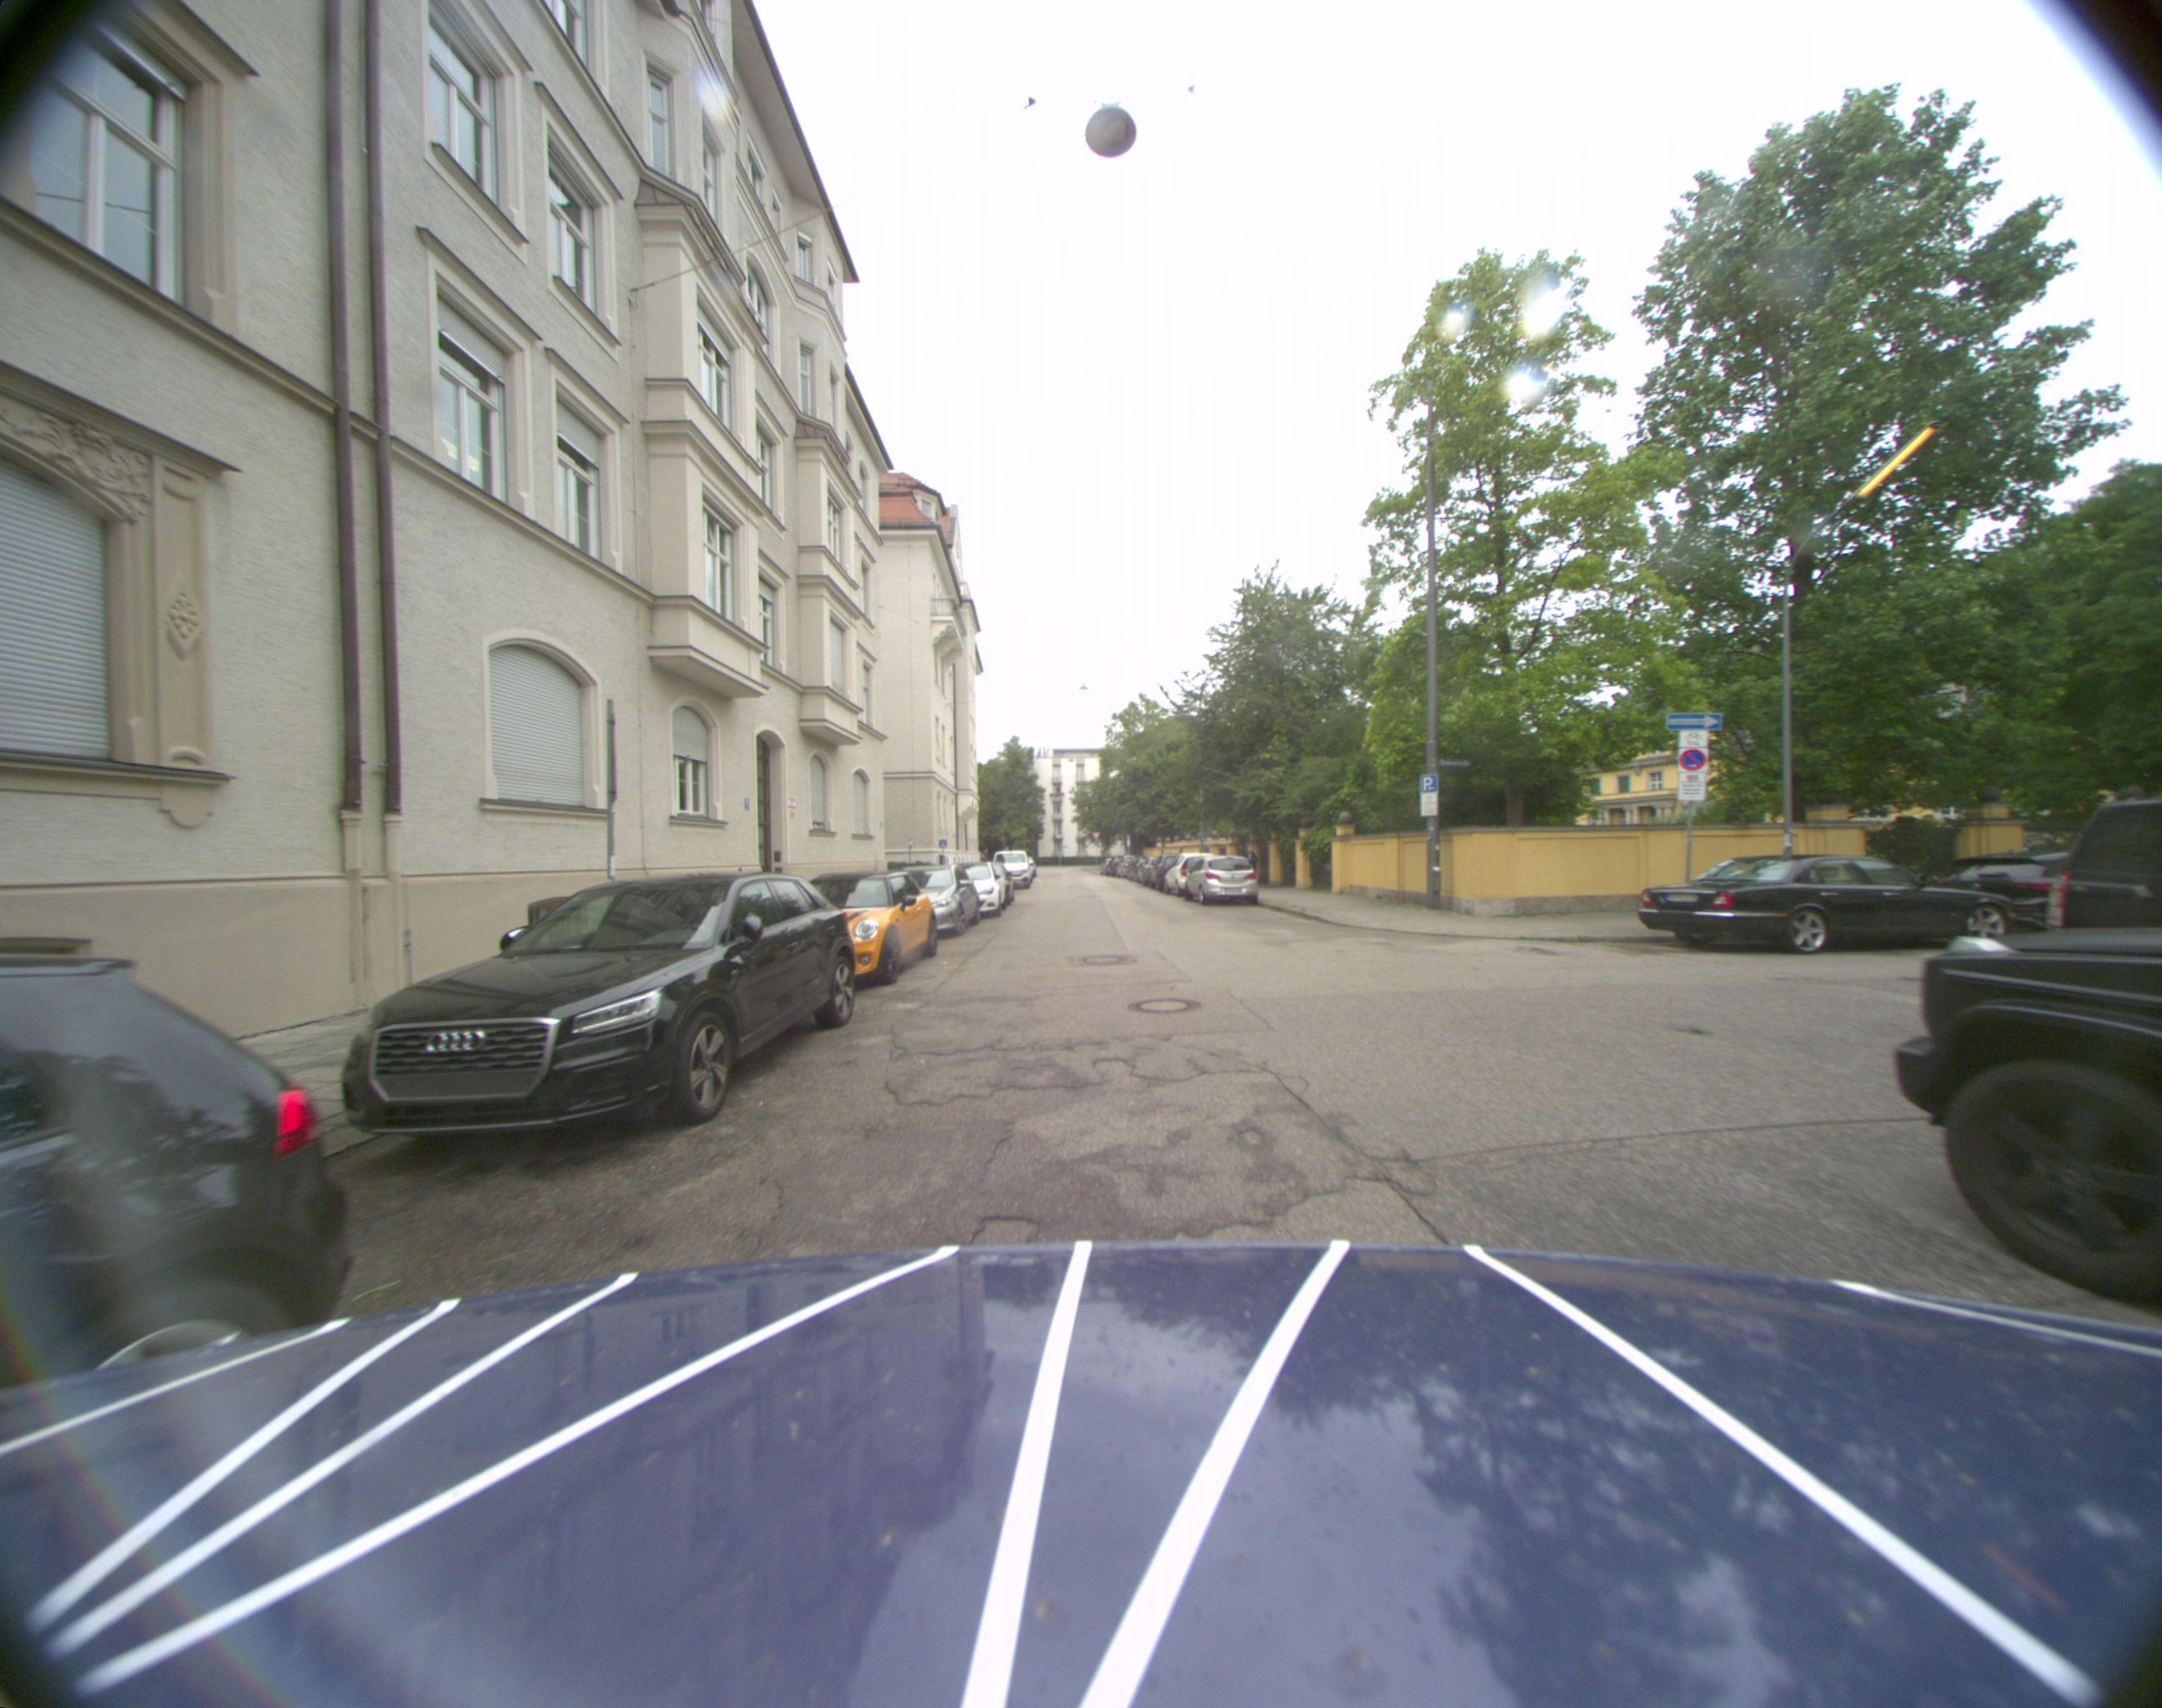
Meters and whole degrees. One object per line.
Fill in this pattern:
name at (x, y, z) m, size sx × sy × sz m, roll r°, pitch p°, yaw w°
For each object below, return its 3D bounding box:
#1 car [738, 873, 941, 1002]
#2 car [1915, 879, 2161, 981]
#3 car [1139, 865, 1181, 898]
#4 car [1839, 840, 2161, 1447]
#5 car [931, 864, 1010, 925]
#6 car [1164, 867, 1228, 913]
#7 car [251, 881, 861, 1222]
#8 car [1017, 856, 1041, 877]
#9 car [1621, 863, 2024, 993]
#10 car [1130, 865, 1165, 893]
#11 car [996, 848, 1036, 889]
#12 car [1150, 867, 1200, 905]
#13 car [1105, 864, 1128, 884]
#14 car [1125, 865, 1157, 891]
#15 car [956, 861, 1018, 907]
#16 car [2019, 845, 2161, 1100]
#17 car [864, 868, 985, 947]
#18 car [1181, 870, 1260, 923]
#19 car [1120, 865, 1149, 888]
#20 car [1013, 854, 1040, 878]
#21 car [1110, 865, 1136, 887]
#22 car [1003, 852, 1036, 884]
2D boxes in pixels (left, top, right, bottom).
car at (-3.181, 1.035, 10.759) m, size 1.660 × 1.431 × 3.597 m, roll -1°, pitch 0°, yaw 1°
car at (16.340, 1.143, 12.161) m, size 4.240 × 1.377 × 1.853 m, roll 0°, pitch 0°, yaw -5°
car at (4.032, 1.377, 39.253) m, size 1.653 × 1.551 × 3.930 m, roll 0°, pitch 0°, yaw -1°
car at (4.298, 0.902, 0.928) m, size 1.917 × 1.875 × 4.816 m, roll 0°, pitch 0°, yaw 0°
car at (-2.980, 1.041, 21.195) m, size 1.715 × 1.462 × 4.084 m, roll -2°, pitch 0°, yaw -2°
car at (4.271, 1.296, 28.868) m, size 1.705 × 1.551 × 3.930 m, roll -2°, pitch 0°, yaw -1°
car at (-3.111, 1.024, 5.653) m, size 1.747 × 1.507 × 3.958 m, roll -1°, pitch 0°, yaw 0°
car at (-4.315, 1.028, 63.652) m, size 1.794 × 1.638 × 4.084 m, roll -2°, pitch 0°, yaw -2°
car at (11.245, 1.029, 11.693) m, size 4.738 × 1.733 × 1.904 m, roll 0°, pitch 0°, yaw -7°
car at (3.897, 1.450, 44.953) m, size 1.653 × 1.551 × 3.930 m, roll 0°, pitch 0°, yaw -1°
car at (-3.319, 0.719, 39.459) m, size 1.794 × 1.926 × 4.084 m, roll -2°, pitch 0°, yaw -2°
car at (4.125, 1.393, 33.942) m, size 1.653 × 1.551 × 3.930 m, roll 0°, pitch 0°, yaw -1°
car at (2.947, 1.638, 63.432) m, size 1.653 × 1.551 × 3.930 m, roll 0°, pitch 0°, yaw -1°
car at (3.864, 1.515, 49.182) m, size 1.653 × 1.551 × 3.930 m, roll 0°, pitch 0°, yaw -1°
car at (-3.159, 0.962, 26.177) m, size 1.715 × 1.382 × 4.084 m, roll -2°, pitch 0°, yaw -2°
car at (10.105, 0.839, 5.519) m, size 4.520 × 1.846 × 2.054 m, roll 0°, pitch 0°, yaw -7°
car at (-3.219, 1.052, 16.420) m, size 1.715 × 1.382 × 4.000 m, roll -2°, pitch 0°, yaw 0°
car at (4.317, 1.285, 24.077) m, size 1.705 × 1.483 × 3.955 m, roll 0°, pitch 0°, yaw -1°
car at (3.701, 1.544, 53.219) m, size 1.653 × 1.551 × 3.930 m, roll 0°, pitch 0°, yaw -1°
car at (-4.004, 0.854, 56.491) m, size 1.794 × 1.638 × 4.084 m, roll -2°, pitch 0°, yaw -2°
car at (3.163, 1.611, 57.465) m, size 1.653 × 1.551 × 3.930 m, roll 0°, pitch 0°, yaw -1°
car at (-3.676, 0.810, 46.212) m, size 1.794 × 1.776 × 4.084 m, roll -2°, pitch 0°, yaw -3°
